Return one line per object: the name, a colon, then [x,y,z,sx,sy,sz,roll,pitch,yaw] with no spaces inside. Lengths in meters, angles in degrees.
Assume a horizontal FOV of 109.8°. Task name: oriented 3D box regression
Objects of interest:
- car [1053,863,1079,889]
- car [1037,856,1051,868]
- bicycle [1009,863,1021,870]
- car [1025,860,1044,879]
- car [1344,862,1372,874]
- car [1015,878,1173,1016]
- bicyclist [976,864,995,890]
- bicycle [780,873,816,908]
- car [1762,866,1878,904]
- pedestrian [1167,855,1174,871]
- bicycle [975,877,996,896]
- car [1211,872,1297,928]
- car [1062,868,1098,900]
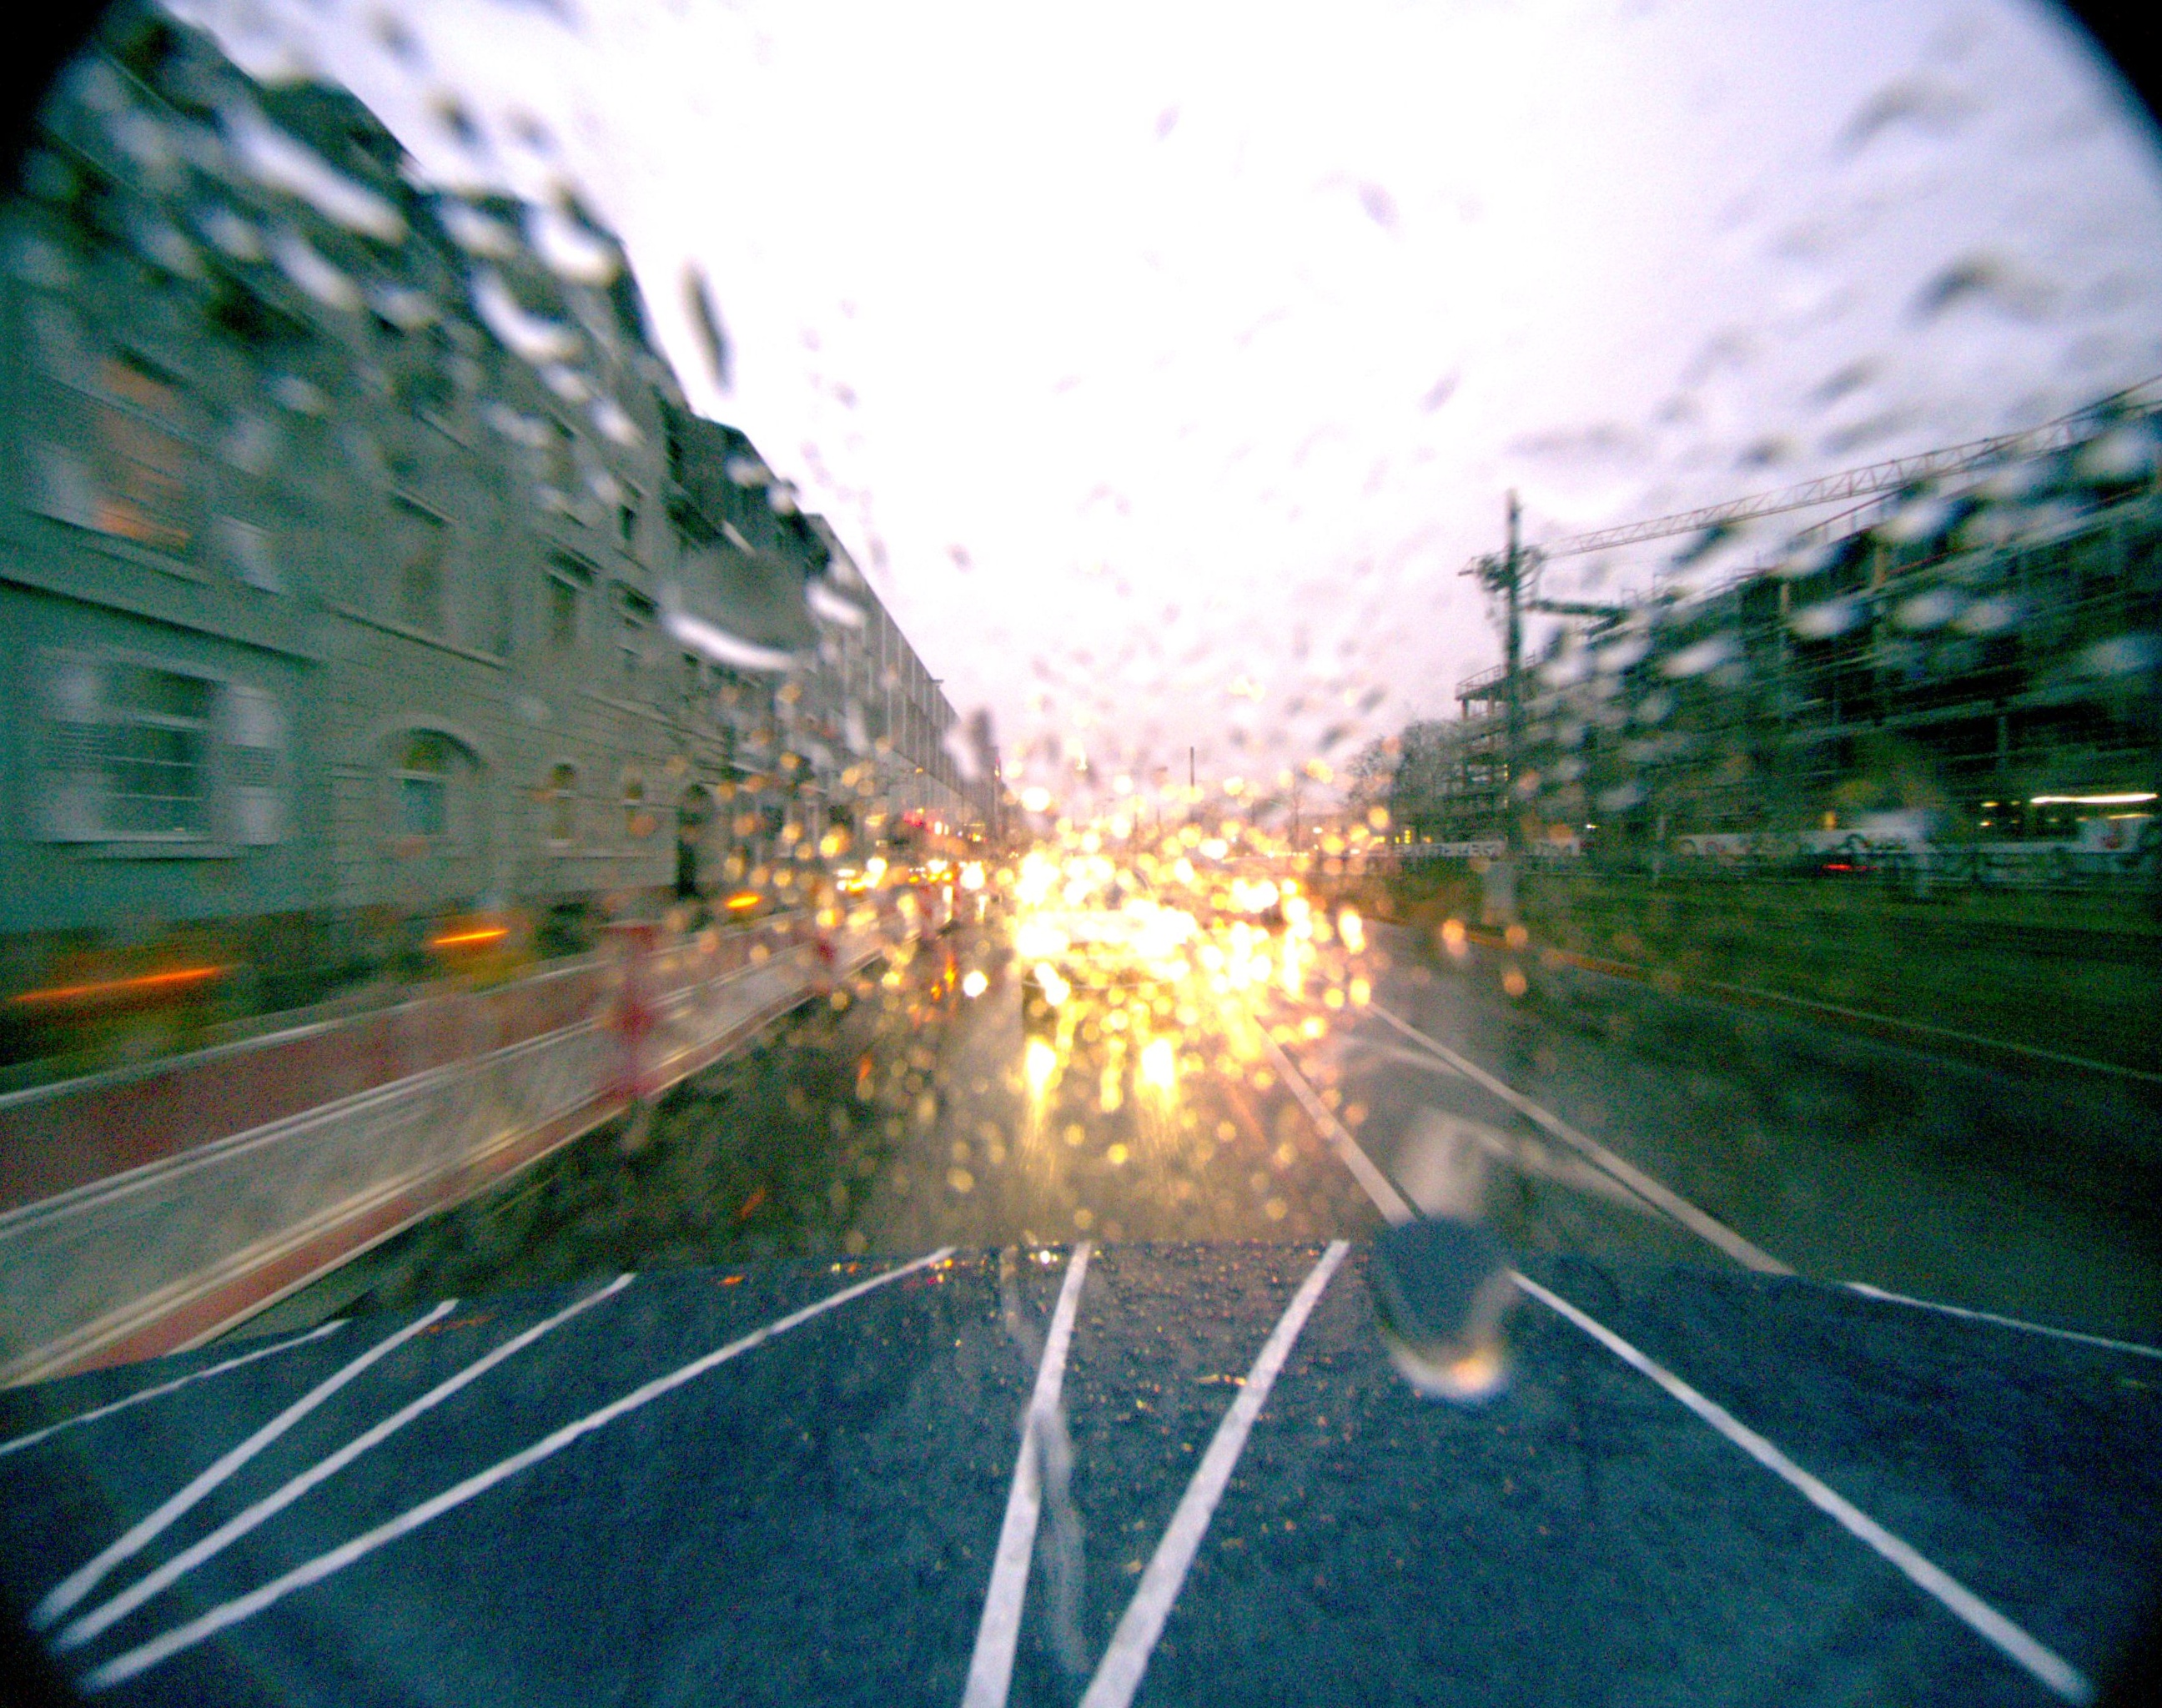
car: [-1.120,1.683,58.325,1.865,1.867,4.000,-1,0,-1]
car: [-5.325,1.139,109.818,1.868,1.652,3.986,-1,0,-2]
bicycle: [-11.151,2.128,128.816,1.908,1.168,0.666,1,0,-2]
car: [-5.126,1.666,83.848,1.999,2.002,3.999,-1,0,-2]
car: [32.862,1.621,90.279,1.687,1.406,4.340,-1,-1,-1]
car: [0.148,1.156,10.969,1.814,1.464,4.139,-1,0,0]
bicyclist: [-5.548,1.338,44.269,0.945,1.454,1.066,-1,0,-1]
bicycle: [-10.653,1.357,28.635,0.684,1.215,1.905,2,0,-3]
car: [34.400,1.413,35.504,1.759,1.652,3.764,0,0,-1]
pedestrian: [9.381,0.963,79.707,0.585,1.691,0.741,-1,0,9]
bicycle: [-5.580,1.860,44.336,0.945,0.993,2.240,-1,0,-1]
car: [5.026,1.285,22.587,1.809,1.444,4.005,0,0,2]
car: [-0.078,1.721,44.531,1.999,1.673,4.000,-1,0,0]
